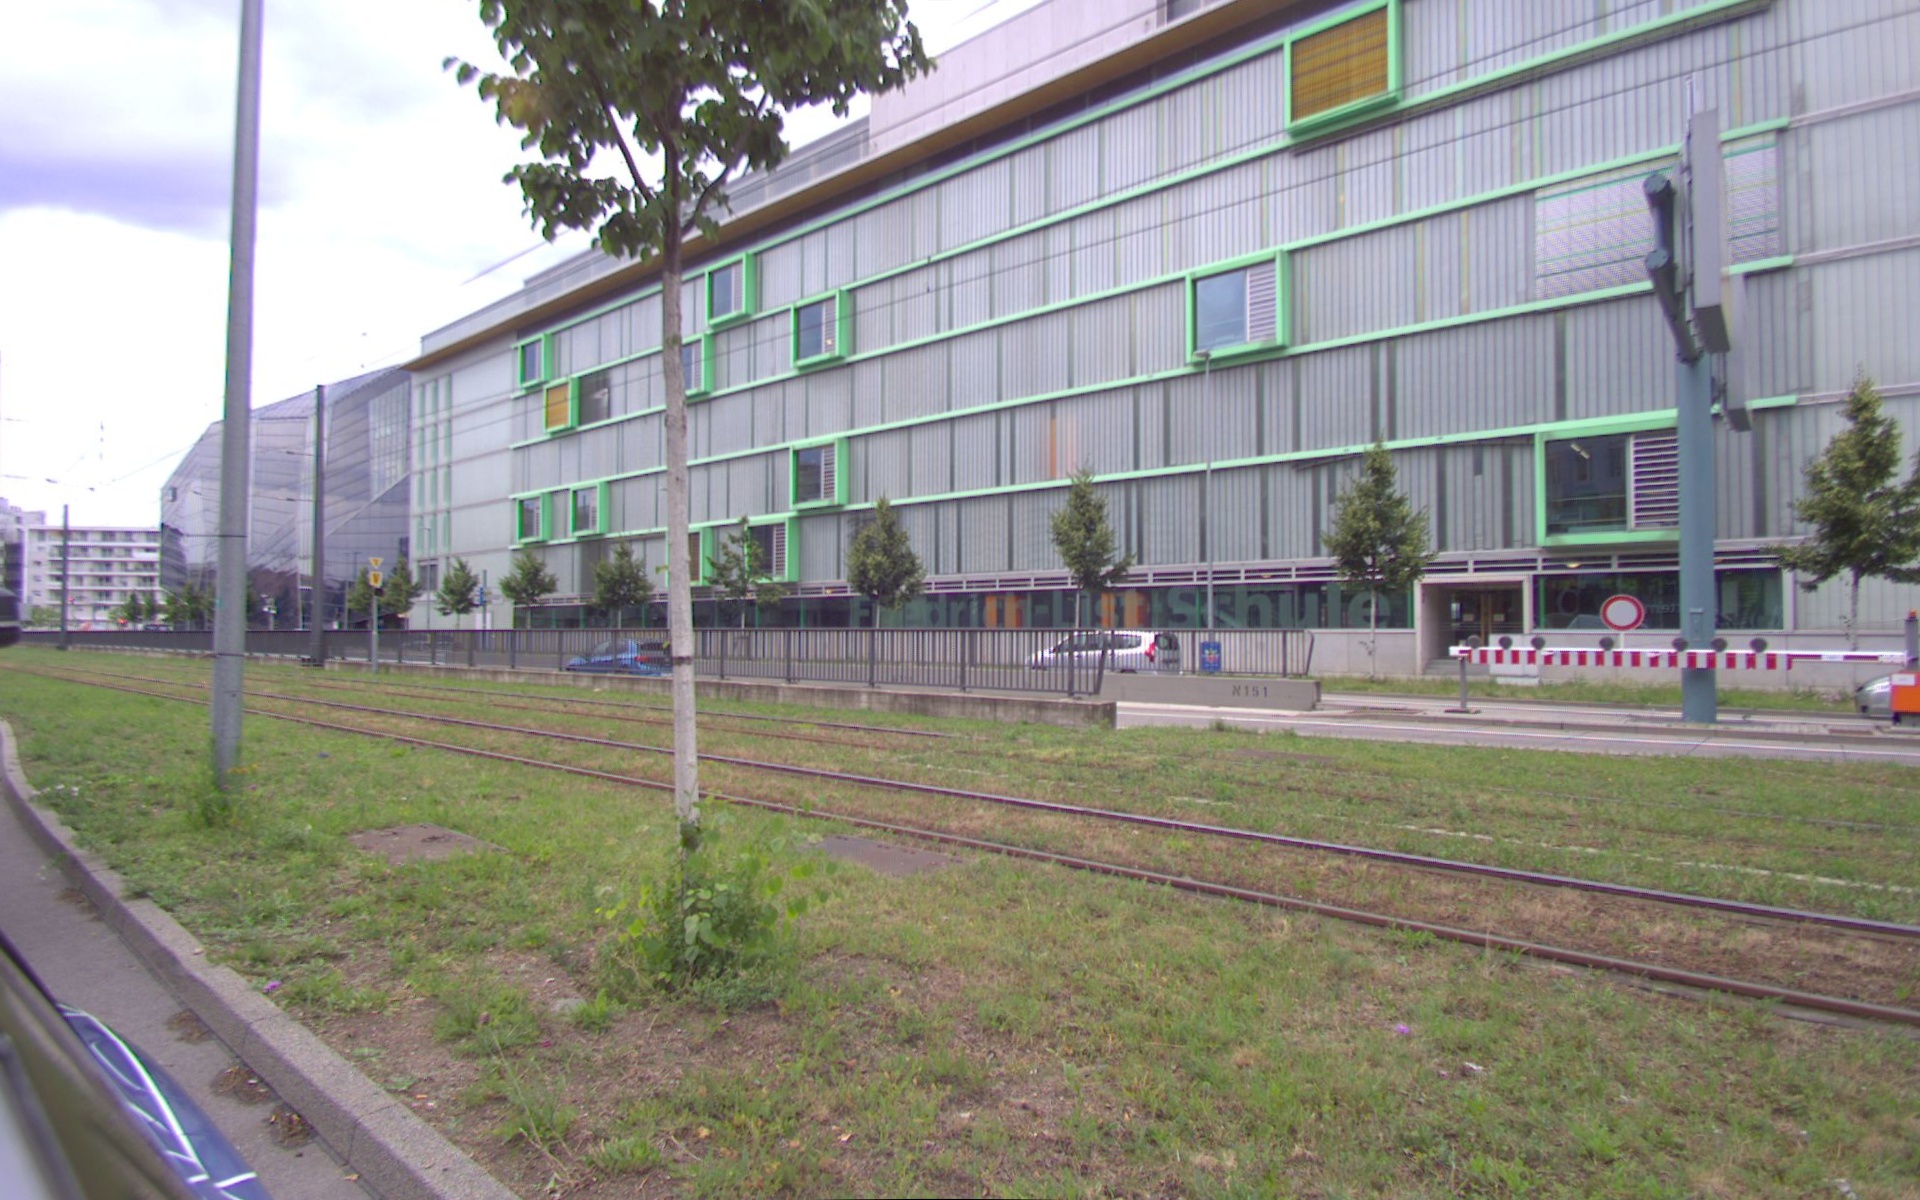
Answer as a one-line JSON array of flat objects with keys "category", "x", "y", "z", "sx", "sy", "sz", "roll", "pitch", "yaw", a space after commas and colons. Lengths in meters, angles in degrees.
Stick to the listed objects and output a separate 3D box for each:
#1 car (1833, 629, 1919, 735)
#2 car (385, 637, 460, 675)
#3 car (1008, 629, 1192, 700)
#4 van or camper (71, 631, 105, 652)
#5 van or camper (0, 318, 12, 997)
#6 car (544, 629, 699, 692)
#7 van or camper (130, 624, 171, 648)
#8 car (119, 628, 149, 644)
[{"category": "car", "x": 16.712, "y": 1.278, "z": 15.708, "sx": 4.670, "sy": 1.656, "sz": 1.704, "roll": -2, "pitch": -2, "yaw": 39}, {"category": "car", "x": -29.954, "y": 3.079, "z": 56.344, "sx": 5.292, "sy": 2.029, "sz": 1.972, "roll": -2, "pitch": -2, "yaw": 42}, {"category": "car", "x": 3.649, "y": 1.642, "z": 26.875, "sx": 4.574, "sy": 1.582, "sz": 1.779, "roll": 0, "pitch": 1, "yaw": 39}, {"category": "van or camper", "x": -100.227, "y": 4.749, "z": 116.332, "sx": 6.503, "sy": 2.304, "sz": 2.150, "roll": -2, "pitch": -2, "yaw": 42}, {"category": "van or camper", "x": -6.229, "y": 0.259, "z": 4.763, "sx": 5.037, "sy": 2.607, "sz": 2.017, "roll": -2, "pitch": -2, "yaw": 40}, {"category": "car", "x": -9.488, "y": 1.632, "z": 28.198, "sx": 4.684, "sy": 1.600, "sz": 1.944, "roll": -2, "pitch": -2, "yaw": 39}, {"category": "van or camper", "x": -78.534, "y": 3.492, "z": 98.139, "sx": 5.356, "sy": 2.304, "sz": 2.150, "roll": -2, "pitch": -2, "yaw": 41}, {"category": "car", "x": -92.773, "y": 4.056, "z": 113.653, "sx": 4.766, "sy": 1.605, "sz": 1.972, "roll": -4, "pitch": -4, "yaw": 43}]
